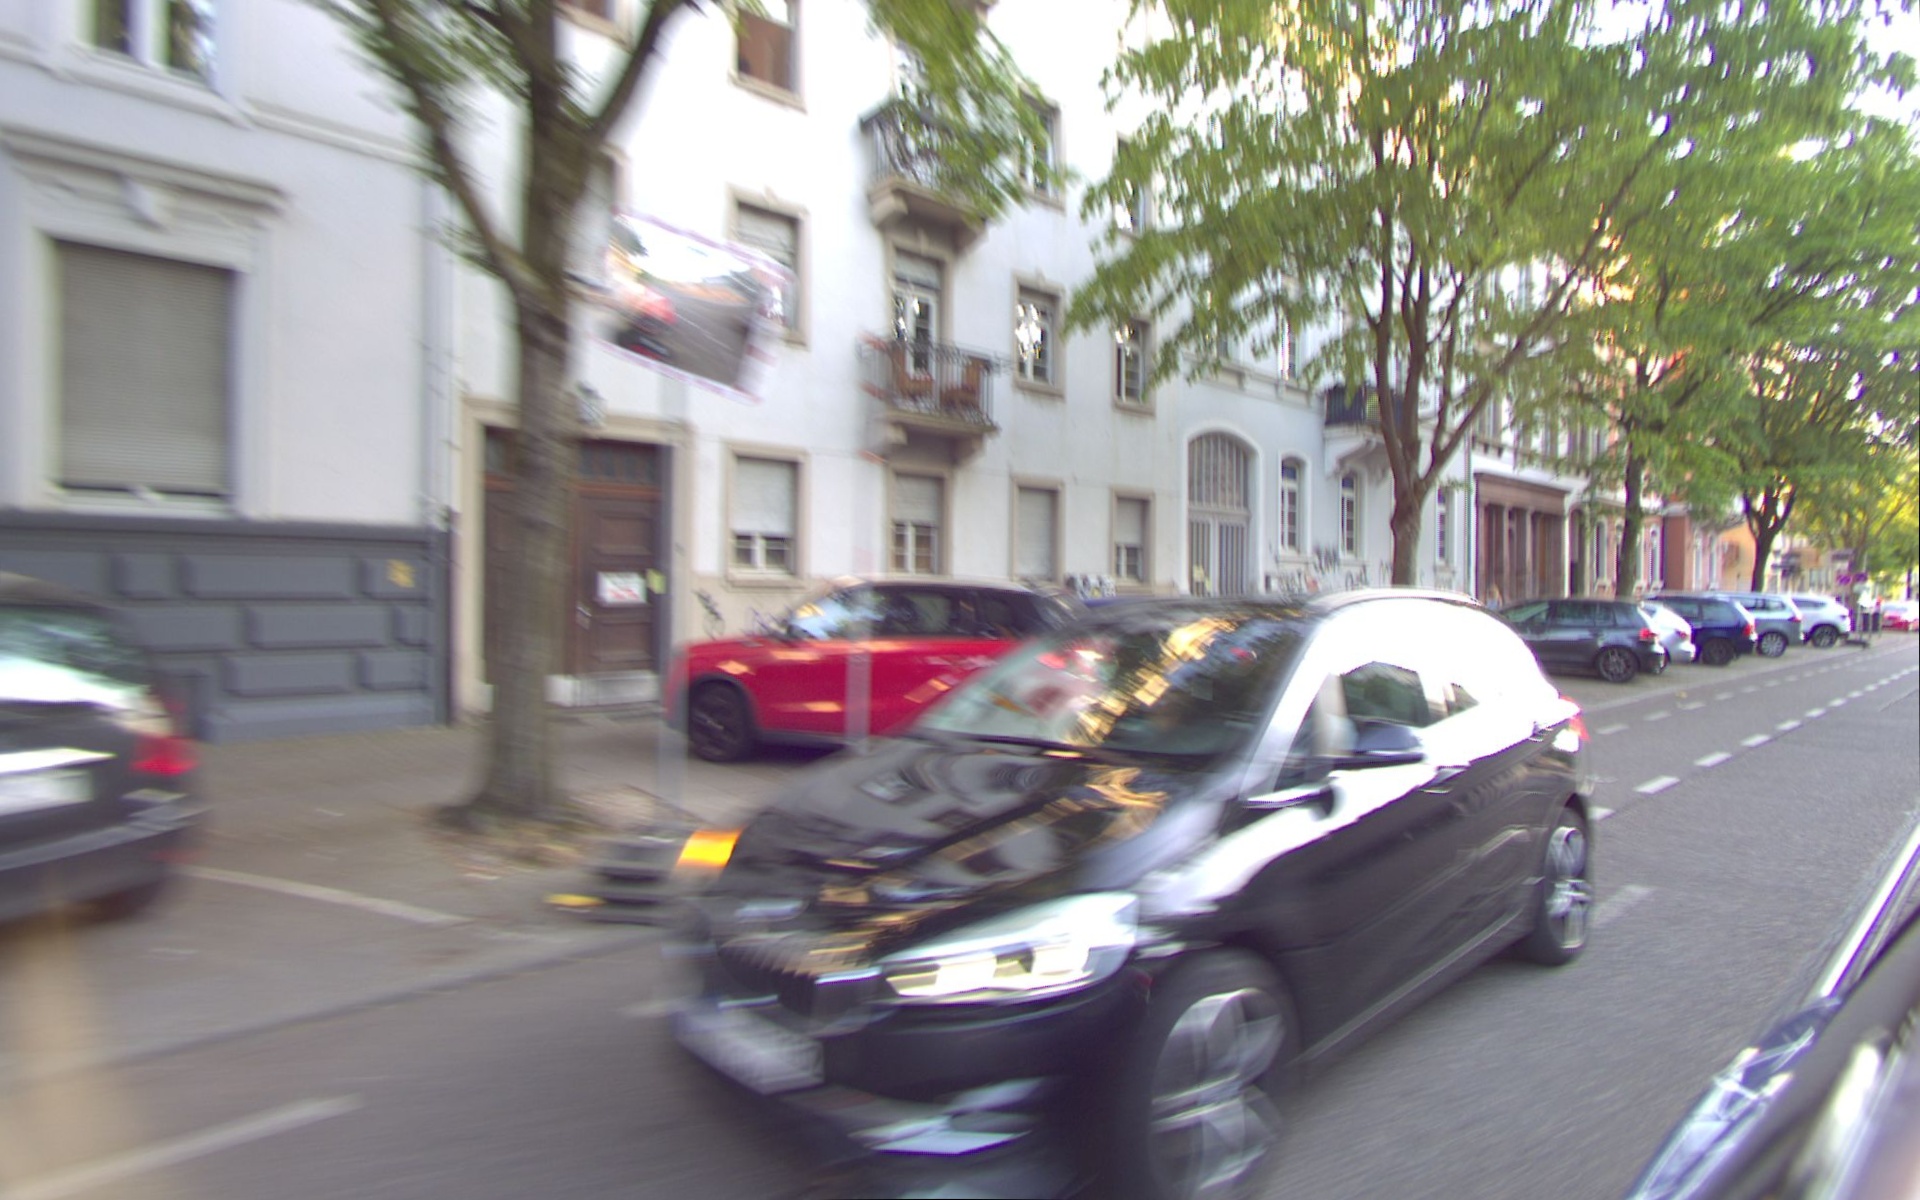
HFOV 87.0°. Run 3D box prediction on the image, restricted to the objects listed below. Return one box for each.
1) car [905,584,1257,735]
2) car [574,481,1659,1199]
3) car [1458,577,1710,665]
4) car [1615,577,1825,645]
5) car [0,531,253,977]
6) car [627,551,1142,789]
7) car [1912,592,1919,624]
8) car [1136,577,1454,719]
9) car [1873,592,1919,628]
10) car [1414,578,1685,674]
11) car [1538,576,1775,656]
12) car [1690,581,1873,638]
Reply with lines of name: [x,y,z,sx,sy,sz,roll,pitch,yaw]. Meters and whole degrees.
car: [1.310,0.557,10.891,3.522,1.427,1.515,1,1,14]
car: [0.932,0.649,3.836,4.096,1.662,1.837,0,-3,-42]
car: [12.587,0.357,20.637,4.181,1.521,1.723,3,2,33]
car: [20.401,0.252,27.381,4.159,1.629,1.732,2,1,20]
car: [-5.845,0.533,4.455,4.958,1.623,1.886,1,1,18]
car: [-0.640,0.452,8.646,4.072,1.661,1.730,1,1,23]
car: [51.407,0.399,52.930,3.751,1.630,1.743,0,0,-37]
car: [4.055,0.515,12.507,3.530,1.565,1.375,1,1,20]
car: [46.430,0.471,49.658,3.750,1.629,1.743,0,2,-37]
car: [10.927,0.410,18.968,4.181,1.521,1.723,3,2,33]
car: [15.918,0.312,23.391,4.159,1.629,1.692,2,1,20]
car: [26.373,0.266,32.648,4.159,1.629,1.732,2,1,20]
